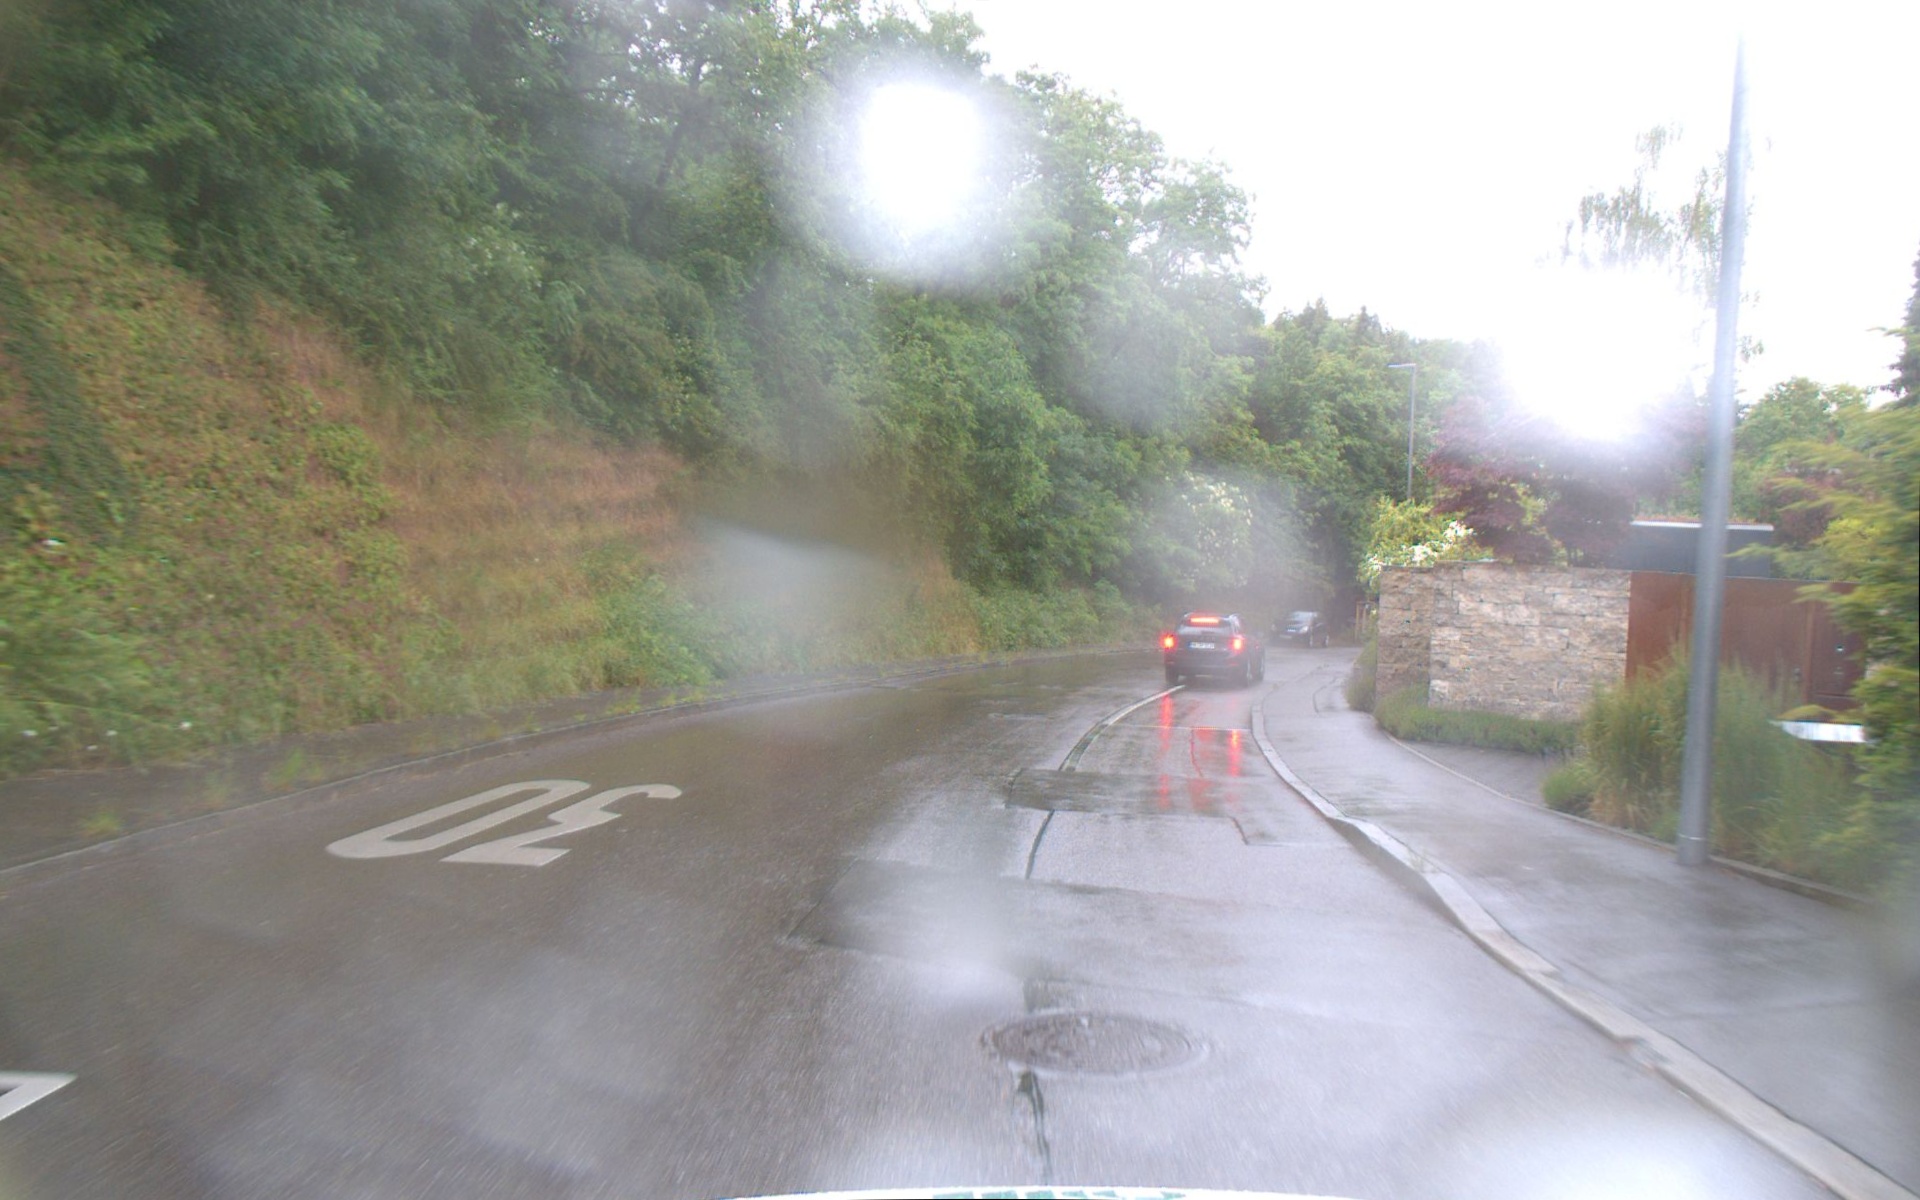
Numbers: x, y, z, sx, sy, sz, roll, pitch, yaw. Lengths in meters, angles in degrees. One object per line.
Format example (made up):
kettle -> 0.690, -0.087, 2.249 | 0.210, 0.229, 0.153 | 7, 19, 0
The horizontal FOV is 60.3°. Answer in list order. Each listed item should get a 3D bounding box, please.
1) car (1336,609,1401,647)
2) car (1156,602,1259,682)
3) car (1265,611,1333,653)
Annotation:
car -> 19.556, 1.346, 79.081 | 1.957, 1.669, 3.993 | 4, 0, 29
car -> 5.326, 0.852, 35.266 | 1.829, 1.538, 4.096 | 2, 0, 13
car -> 13.554, 1.241, 65.935 | 1.667, 1.496, 3.996 | 4, 1, 26
